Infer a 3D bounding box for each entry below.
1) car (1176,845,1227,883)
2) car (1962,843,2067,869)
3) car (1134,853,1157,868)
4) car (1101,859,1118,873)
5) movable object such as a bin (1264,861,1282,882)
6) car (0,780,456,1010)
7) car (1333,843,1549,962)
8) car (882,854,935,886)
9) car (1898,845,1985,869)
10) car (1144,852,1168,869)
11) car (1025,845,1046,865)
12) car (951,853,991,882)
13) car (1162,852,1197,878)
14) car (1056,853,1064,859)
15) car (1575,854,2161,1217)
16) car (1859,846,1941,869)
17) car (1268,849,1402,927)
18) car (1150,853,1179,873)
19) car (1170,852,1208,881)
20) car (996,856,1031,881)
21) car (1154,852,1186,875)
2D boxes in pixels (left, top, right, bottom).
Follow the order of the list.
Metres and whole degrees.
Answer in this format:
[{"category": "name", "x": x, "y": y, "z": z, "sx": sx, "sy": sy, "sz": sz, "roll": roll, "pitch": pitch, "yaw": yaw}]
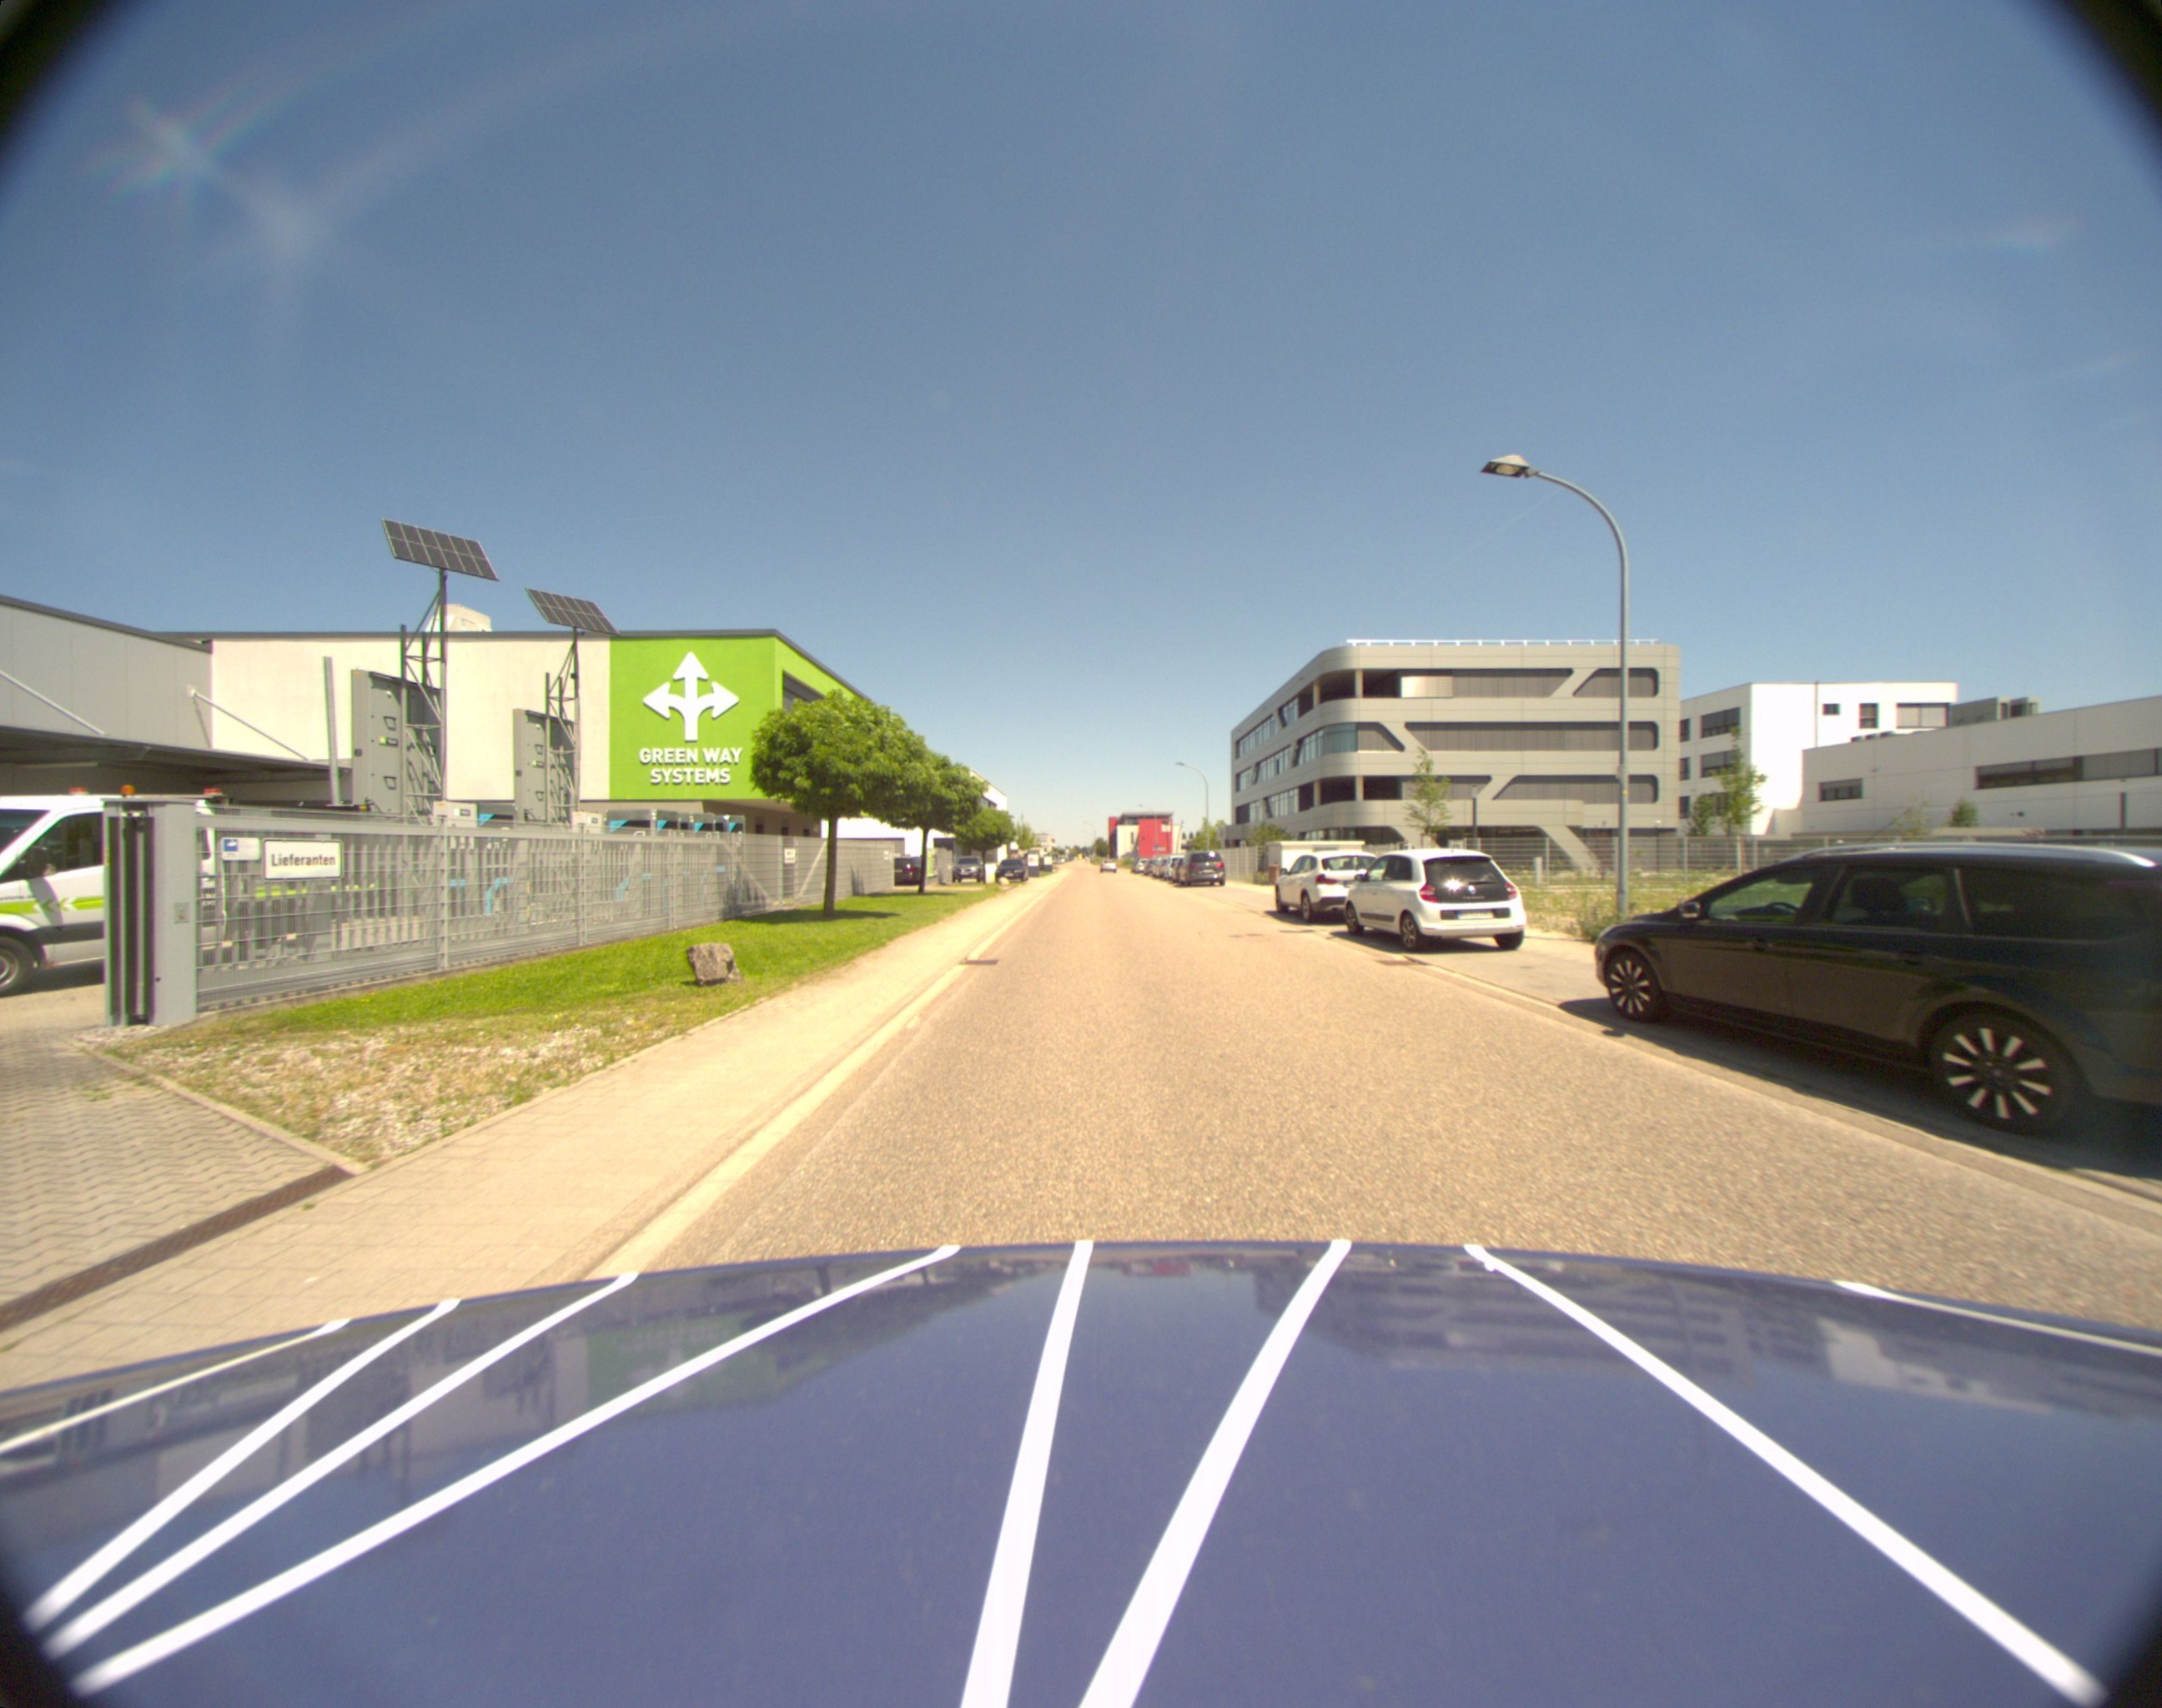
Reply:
[{"category": "car", "x": 5.931, "y": 0.444, "z": 37.771, "sx": 1.807, "sy": 1.709, "sz": 4.622, "roll": -2, "pitch": 0, "yaw": 1}, {"category": "car", "x": 56.581, "y": 0.123, "z": 46.098, "sx": 3.997, "sy": 1.576, "sz": 1.922, "roll": 0, "pitch": 0, "yaw": 1}, {"category": "car", "x": 6.264, "y": 0.598, "z": 73.996, "sx": 1.704, "sy": 1.378, "sz": 3.937, "roll": -1, "pitch": 0, "yaw": -2}, {"category": "car", "x": 3.126, "y": 1.331, "z": 84.204, "sx": 1.708, "sy": 1.402, "sz": 4.785, "roll": 1, "pitch": -1, "yaw": 0}, {"category": "movable object such as a bin", "x": 8.678, "y": 0.782, "z": 34.294, "sx": 0.602, "sy": 0.940, "sz": 0.517, "roll": -1, "pitch": 1, "yaw": 41}, {"category": "car", "x": -12.718, "y": 0.397, "z": 10.600, "sx": 2.135, "sy": 2.480, "sz": 7.024, "roll": 1, "pitch": 1, "yaw": 1}, {"category": "car", "x": 5.753, "y": 0.678, "z": 12.695, "sx": 1.791, "sy": 1.647, "sz": 3.768, "roll": -1, "pitch": 1, "yaw": 0}, {"category": "car", "x": -8.832, "y": 0.795, "z": 39.204, "sx": 1.742, "sy": 1.390, "sz": 4.053, "roll": -1, "pitch": 2, "yaw": 0}, {"category": "car", "x": 57.701, "y": 0.174, "z": 50.974, "sx": 3.999, "sy": 1.576, "sz": 1.921, "roll": 0, "pitch": 0, "yaw": -6}, {"category": "car", "x": 6.365, "y": 0.584, "z": 64.929, "sx": 1.688, "sy": 1.378, "sz": 4.639, "roll": -1, "pitch": 0, "yaw": 1}, {"category": "car", "x": -4.918, "y": 0.164, "z": 81.926, "sx": 1.999, "sy": 2.001, "sz": 5.801, "roll": 0, "pitch": -2, "yaw": -1}, {"category": "car", "x": -6.675, "y": 0.783, "z": 46.443, "sx": 1.727, "sy": 1.623, "sz": 4.022, "roll": -1, "pitch": 0, "yaw": 1}, {"category": "car", "x": 6.179, "y": 0.658, "z": 48.032, "sx": 1.639, "sy": 1.527, "sz": 3.657, "roll": -2, "pitch": 0, "yaw": 0}, {"category": "car", "x": -4.952, "y": 0.436, "z": 179.550, "sx": 1.828, "sy": 1.269, "sz": 3.886, "roll": 0, "pitch": 0, "yaw": 1}, {"category": "car", "x": 5.619, "y": 0.798, "z": 5.083, "sx": 1.767, "sy": 1.508, "sz": 4.379, "roll": -2, "pitch": 1, "yaw": 0}, {"category": "car", "x": 57.330, "y": 0.206, "z": 53.238, "sx": 3.999, "sy": 1.576, "sz": 1.921, "roll": 0, "pitch": 0, "yaw": -6}, {"category": "car", "x": 5.711, "y": 0.686, "z": 17.666, "sx": 1.791, "sy": 1.533, "sz": 4.365, "roll": -1, "pitch": 1, "yaw": 2}, {"category": "car", "x": 6.523, "y": 0.672, "z": 59.509, "sx": 1.707, "sy": 1.435, "sz": 4.439, "roll": -2, "pitch": 0, "yaw": 0}, {"category": "car", "x": 6.081, "y": 0.658, "z": 43.043, "sx": 1.638, "sy": 1.491, "sz": 3.971, "roll": -2, "pitch": 0, "yaw": 2}, {"category": "car", "x": -4.063, "y": 0.860, "z": 46.353, "sx": 1.696, "sy": 1.419, "sz": 4.246, "roll": -1, "pitch": 0, "yaw": 1}, {"category": "car", "x": 6.257, "y": 0.636, "z": 53.830, "sx": 1.707, "sy": 1.527, "sz": 4.571, "roll": -2, "pitch": 0, "yaw": 0}]
